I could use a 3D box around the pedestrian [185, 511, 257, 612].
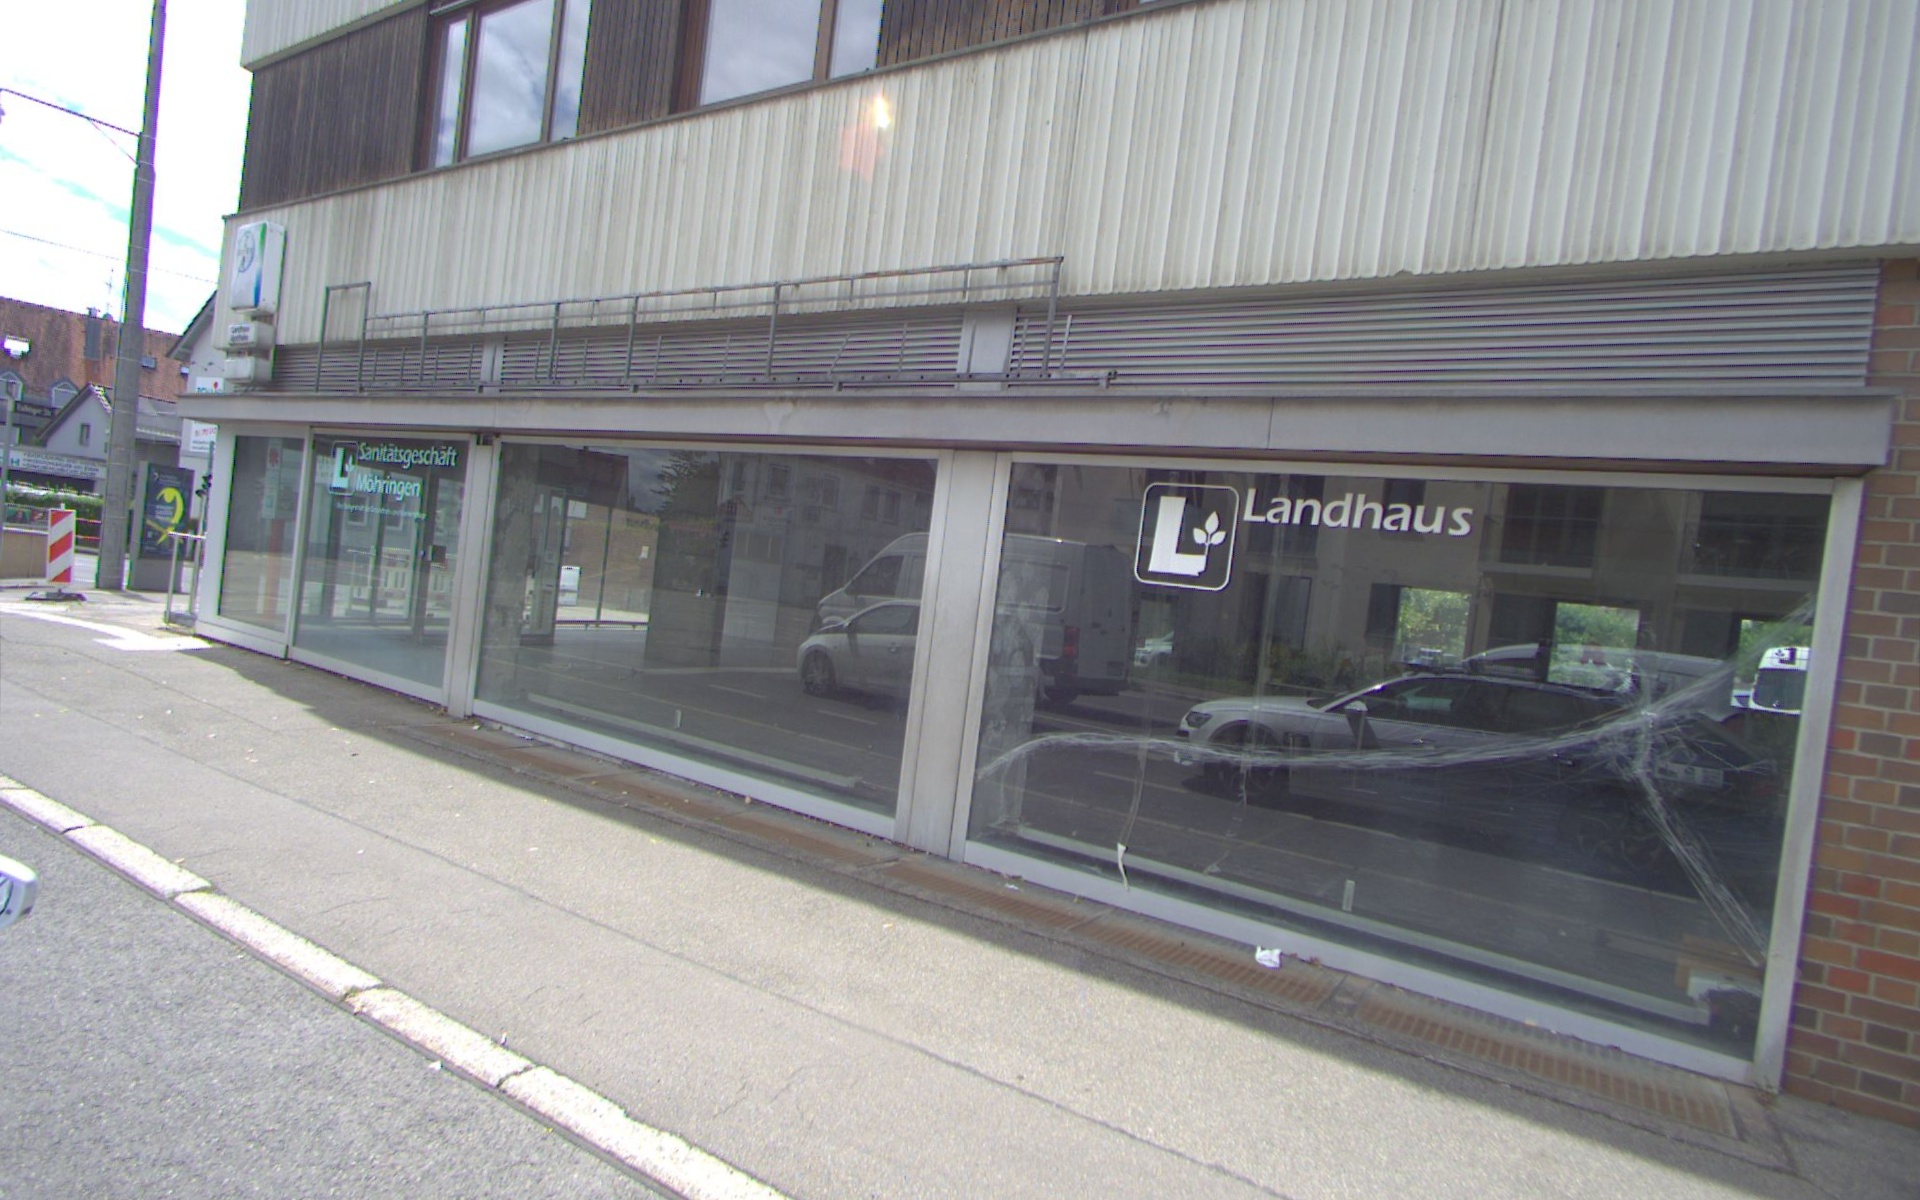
[{"bbox_3d":[-13.149,-0.694,17.892,0.831,1.657,0.863,7,0,-42],"label":"pedestrian"}]

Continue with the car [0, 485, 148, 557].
[{"bbox_3d":[-32.891,-2.888,37.083,1.964,1.971,4.000,7,-1,23],"label":"car"}]

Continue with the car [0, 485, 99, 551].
[{"bbox_3d":[-35.320,-3.189,37.734,1.964,2.037,4.000,7,-1,23],"label":"car"}]
